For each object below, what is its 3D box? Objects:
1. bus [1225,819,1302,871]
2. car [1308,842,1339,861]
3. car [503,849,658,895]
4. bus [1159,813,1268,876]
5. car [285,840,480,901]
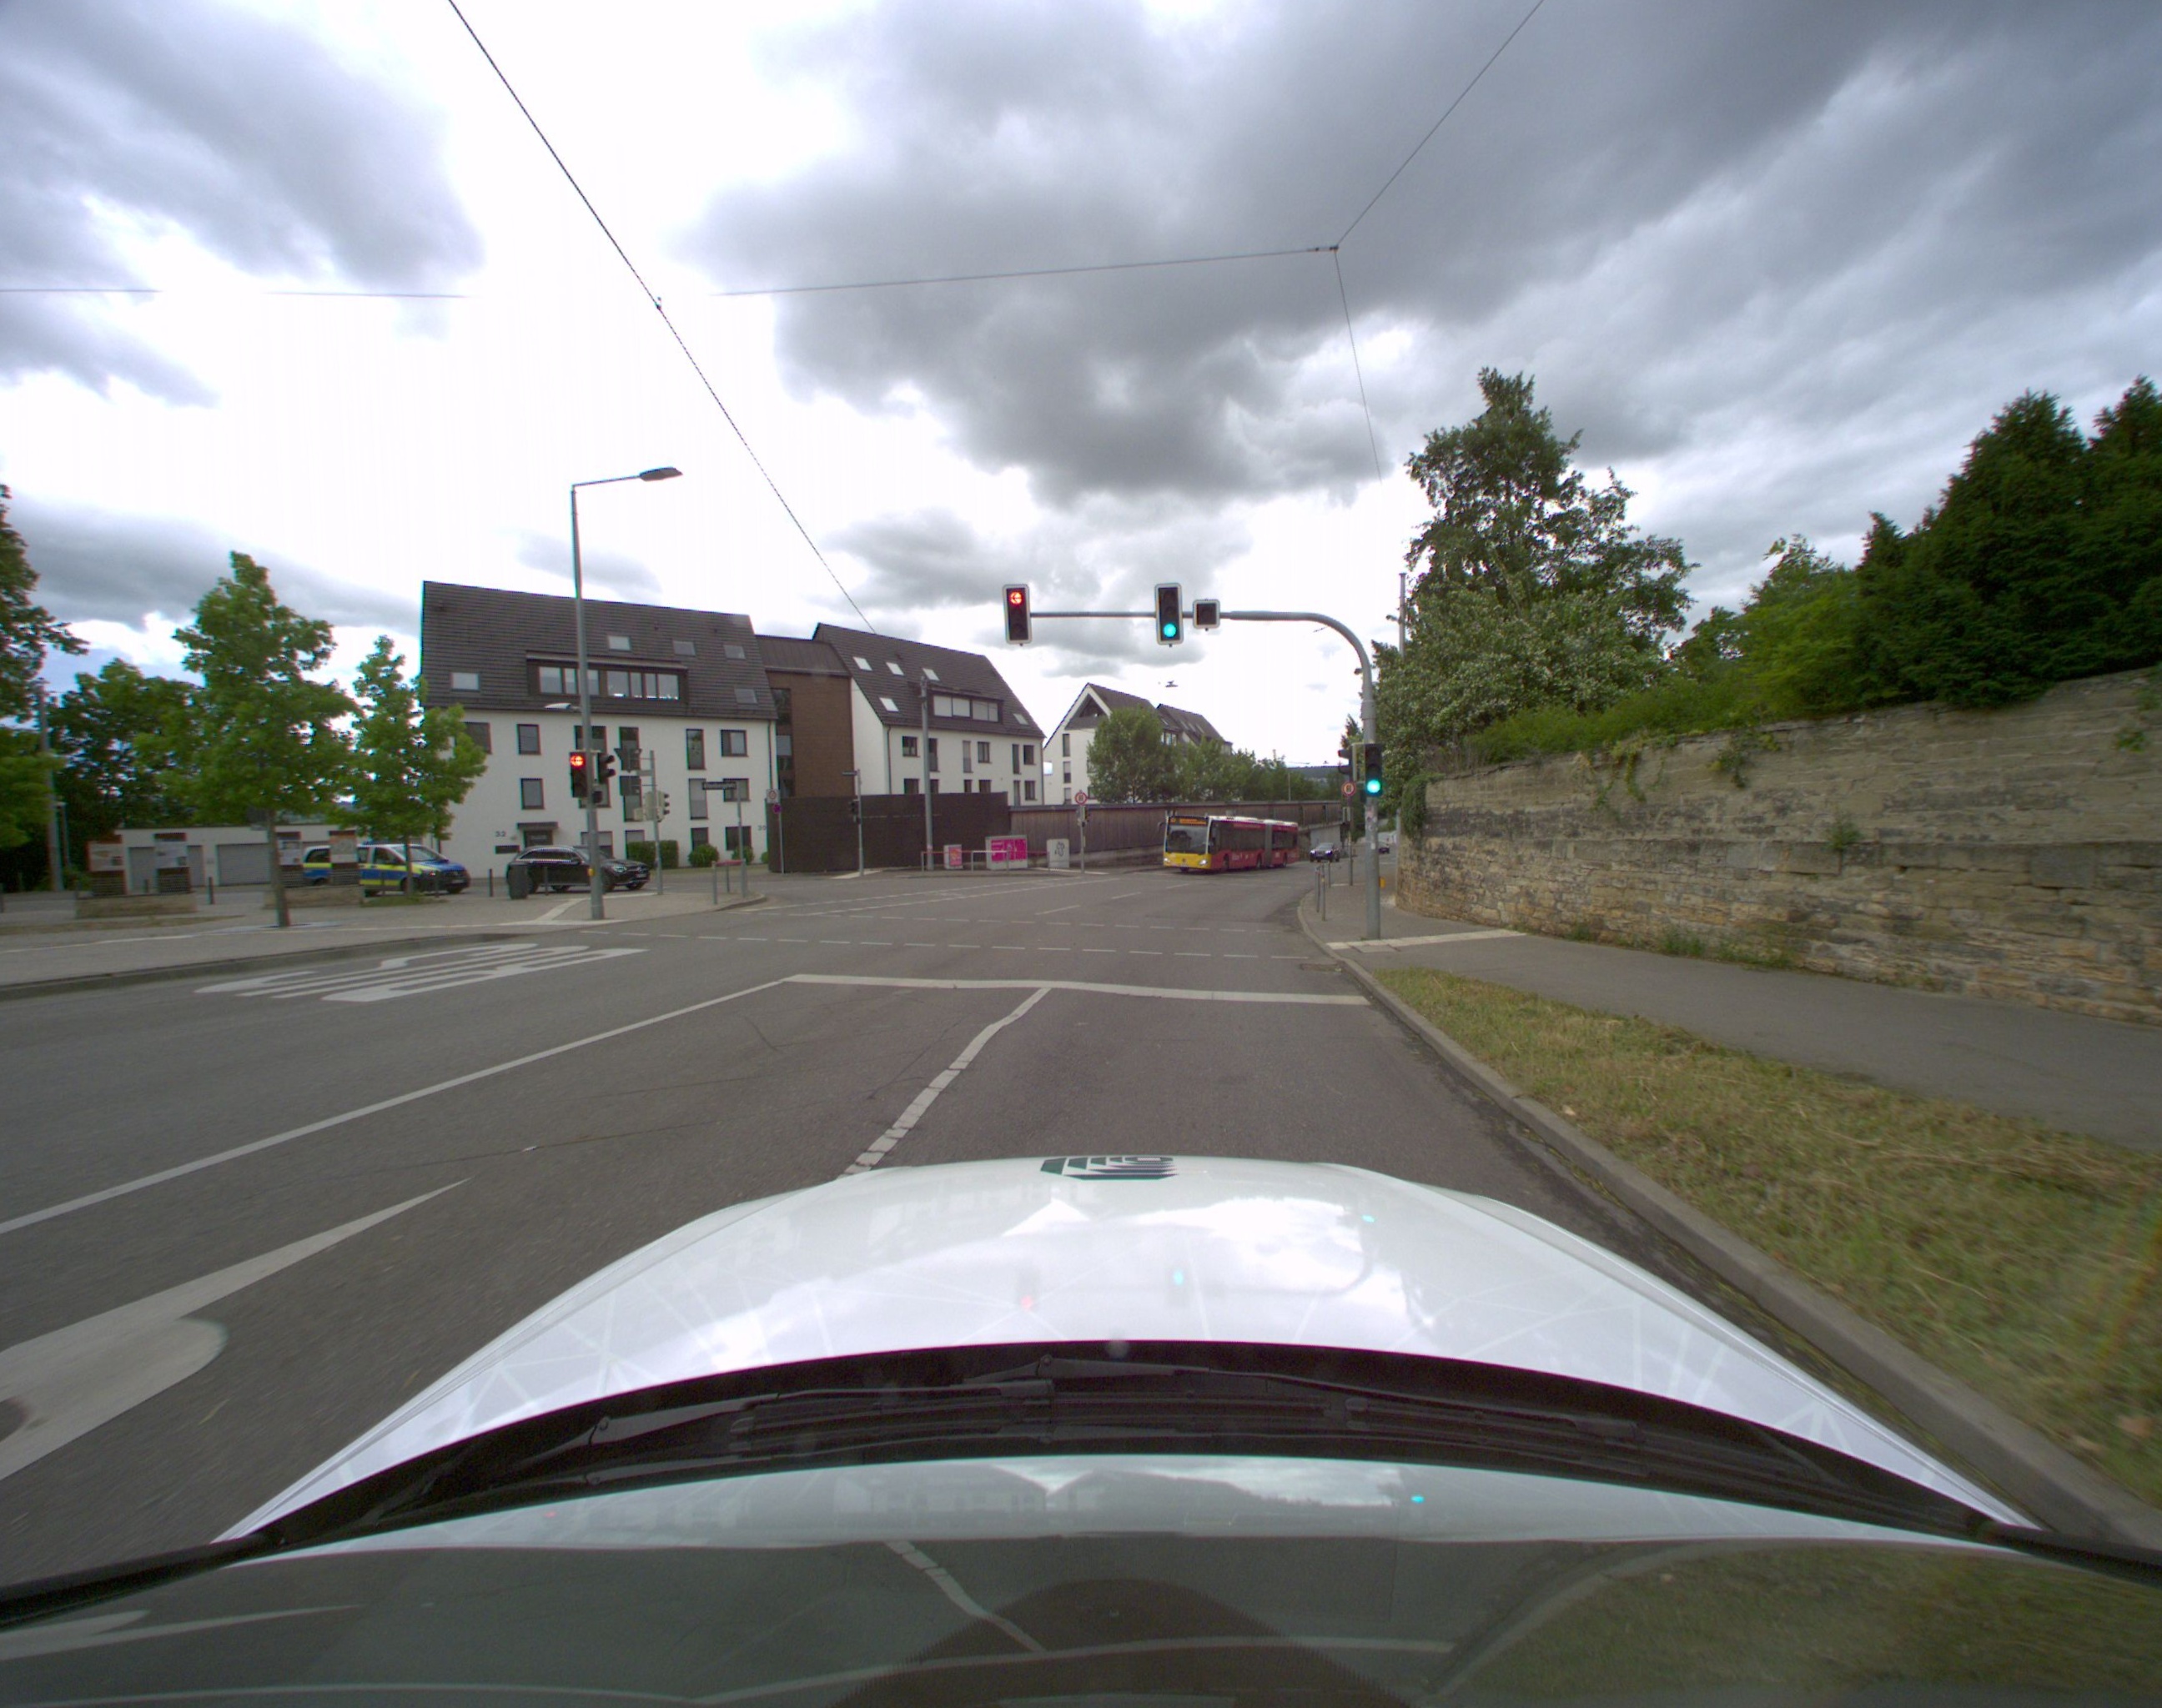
[{"bbox_3d":[12.097,-0.616,53.318,2.633,3.121,8.344,2,1,29],"label":"bus"},{"bbox_3d":[21.367,-0.212,71.713,1.904,1.630,4.549,2,1,26],"label":"car"},{"bbox_3d":[-17.593,0.610,28.736,4.239,1.513,2.003,-1,0,5],"label":"car"},{"bbox_3d":[7.593,-0.537,45.254,2.633,3.121,10.081,2,1,29],"label":"bus"},{"bbox_3d":[-24.658,0.554,28.905,5.061,2.013,1.998,-1,0,-2],"label":"car"}]
